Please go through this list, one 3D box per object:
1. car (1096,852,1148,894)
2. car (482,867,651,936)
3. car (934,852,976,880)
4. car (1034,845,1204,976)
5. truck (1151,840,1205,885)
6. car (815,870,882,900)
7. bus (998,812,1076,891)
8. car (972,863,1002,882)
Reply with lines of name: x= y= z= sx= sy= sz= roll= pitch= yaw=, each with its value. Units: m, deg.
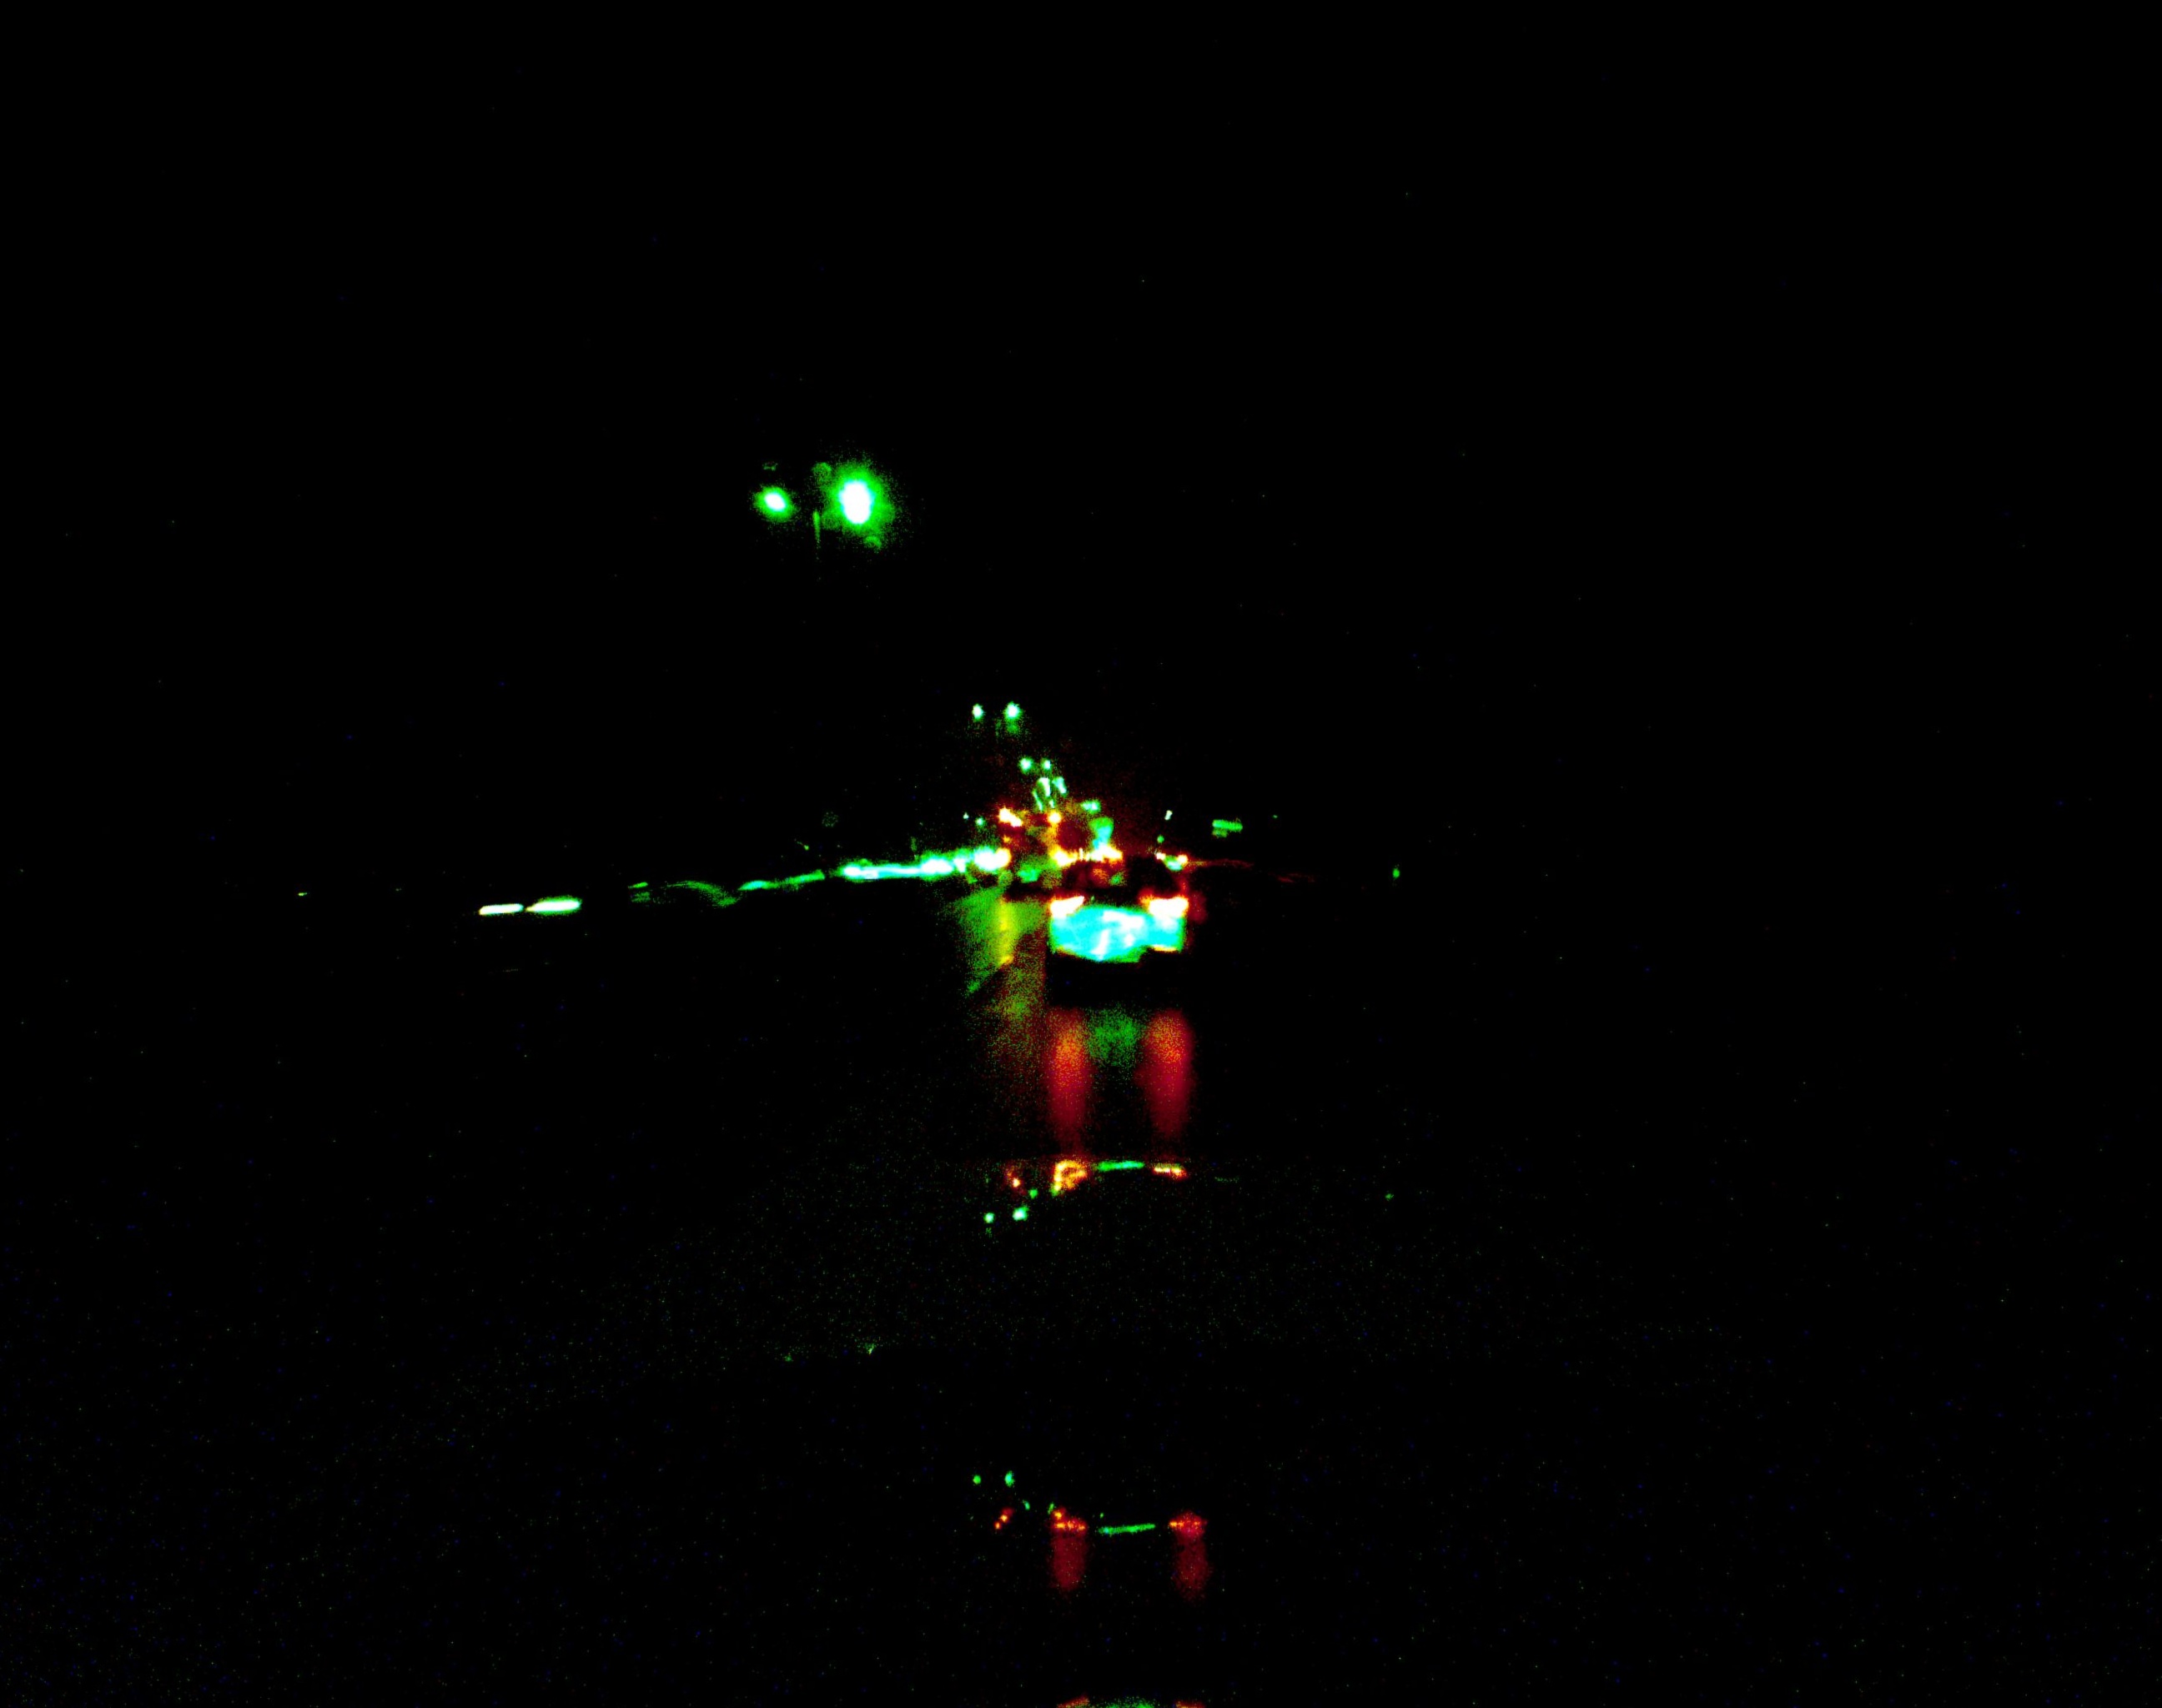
car: x=1.545 y=0.693 z=30.618 sx=1.815 sy=1.461 sz=3.718 roll=-1 pitch=0 yaw=2
car: x=-12.596 y=1.101 z=20.260 sx=1.594 sy=1.552 sz=3.836 roll=1 pitch=-1 yaw=2
car: x=-8.263 y=0.805 z=53.715 sx=1.987 sy=1.774 sz=4.705 roll=1 pitch=-1 yaw=1
car: x=0.504 y=0.663 z=11.259 sx=1.937 sy=1.491 sz=3.717 roll=-1 pitch=0 yaw=2
truck: x=5.920 y=0.559 z=50.673 sx=3.055 sy=2.528 sz=7.176 roll=0 pitch=-1 yaw=5
car: x=-12.364 y=1.599 z=43.686 sx=2.016 sy=1.502 sz=4.898 roll=1 pitch=-1 yaw=2
bus: x=-1.785 y=-0.140 z=37.049 sx=2.733 sy=3.123 sz=9.204 roll=1 pitch=0 yaw=2
car: x=-8.890 y=1.740 z=77.446 sx=2.157 sy=1.774 sz=4.705 roll=1 pitch=-1 yaw=1
